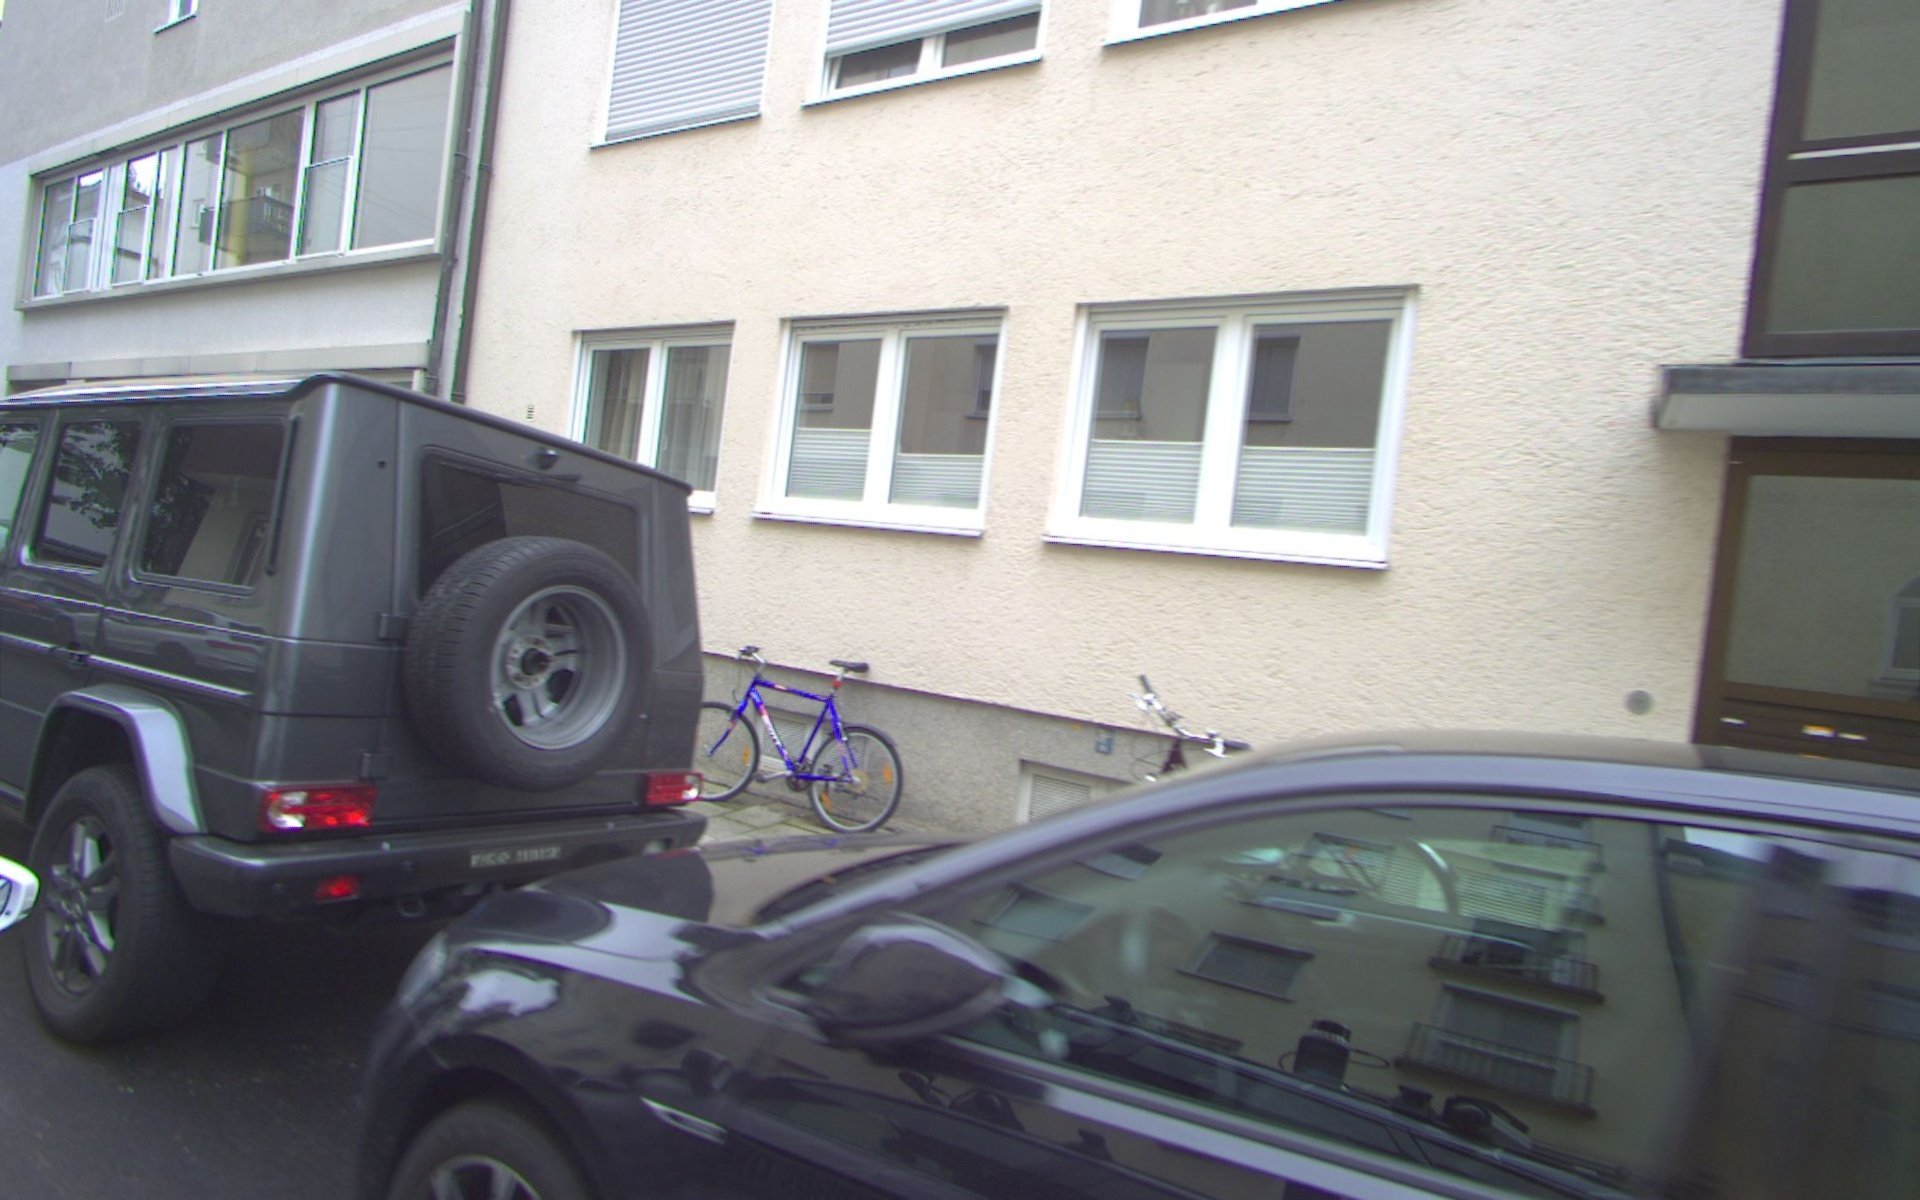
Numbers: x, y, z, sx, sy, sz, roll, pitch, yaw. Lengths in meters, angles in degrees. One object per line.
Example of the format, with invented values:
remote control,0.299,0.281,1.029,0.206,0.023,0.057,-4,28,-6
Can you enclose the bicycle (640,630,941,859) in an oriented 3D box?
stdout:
bicycle,-1.068,0.803,6.152,1.767,1.043,0.644,6,4,31

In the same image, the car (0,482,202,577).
car,-17.979,-1.457,19.935,1.965,1.417,4.212,9,1,28

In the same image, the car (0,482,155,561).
car,-22.520,-1.994,24.443,1.683,1.511,4.219,6,-1,30

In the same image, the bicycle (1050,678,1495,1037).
bicycle,1.375,1.044,4.567,1.731,1.121,0.654,7,4,31

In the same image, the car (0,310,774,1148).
car,-3.125,0.157,4.200,4.268,1.997,1.756,7,-2,30

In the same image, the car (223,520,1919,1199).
car,0.874,0.871,1.639,4.172,1.503,1.715,6,-2,29
